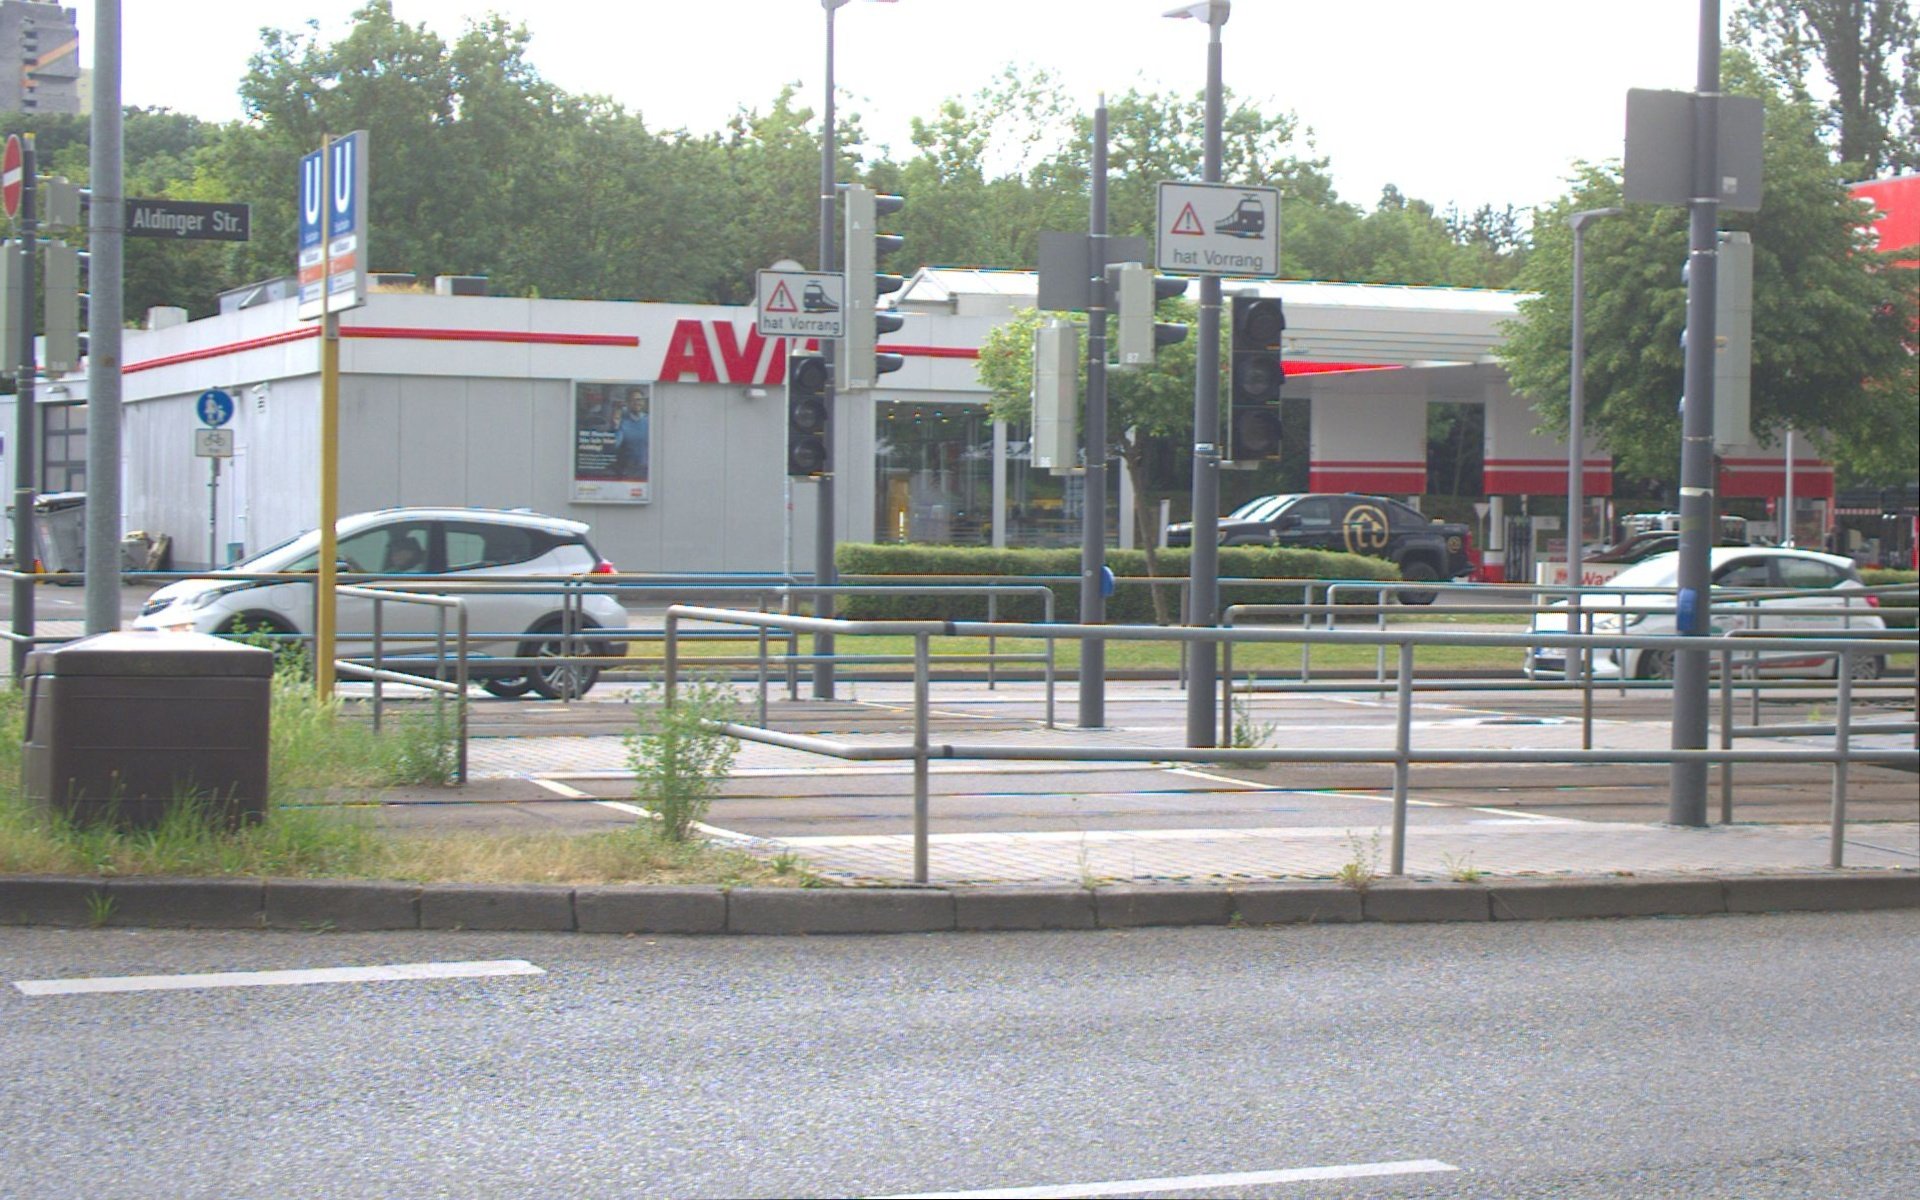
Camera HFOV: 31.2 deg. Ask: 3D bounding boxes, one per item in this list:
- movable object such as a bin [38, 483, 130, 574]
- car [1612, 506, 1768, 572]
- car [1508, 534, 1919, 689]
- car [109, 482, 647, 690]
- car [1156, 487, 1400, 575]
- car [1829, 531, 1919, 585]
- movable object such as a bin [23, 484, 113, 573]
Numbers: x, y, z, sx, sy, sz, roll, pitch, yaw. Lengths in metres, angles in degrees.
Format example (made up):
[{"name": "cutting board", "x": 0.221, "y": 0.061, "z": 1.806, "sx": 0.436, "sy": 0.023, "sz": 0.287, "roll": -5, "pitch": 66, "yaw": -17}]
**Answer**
[{"name": "movable object such as a bin", "x": -14.775, "y": -1.195, "z": 57.961, "sx": 1.368, "sy": 1.489, "sz": 1.105, "roll": 1, "pitch": 0, "yaw": -21}, {"name": "car", "x": 20.638, "y": -1.707, "z": 97.176, "sx": 4.045, "sy": 1.746, "sz": 1.916, "roll": 1, "pitch": 0, "yaw": -29}, {"name": "car", "x": 7.520, "y": 0.115, "z": 34.192, "sx": 3.816, "sy": 1.449, "sz": 1.632, "roll": 1, "pitch": 1, "yaw": -26}, {"name": "car", "x": -4.875, "y": -0.112, "z": 28.797, "sx": 4.109, "sy": 1.635, "sz": 1.751, "roll": 1, "pitch": 1, "yaw": -24}, {"name": "car", "x": 5.199, "y": -1.123, "z": 56.194, "sx": 3.623, "sy": 1.345, "sz": 1.619, "roll": 1, "pitch": 1, "yaw": -26}, {"name": "car", "x": 25.233, "y": -1.100, "z": 91.043, "sx": 4.045, "sy": 1.361, "sz": 1.916, "roll": 1, "pitch": 0, "yaw": -29}, {"name": "movable object such as a bin", "x": -15.385, "y": -1.225, "z": 59.295, "sx": 1.368, "sy": 1.479, "sz": 1.105, "roll": 1, "pitch": 0, "yaw": -21}]
